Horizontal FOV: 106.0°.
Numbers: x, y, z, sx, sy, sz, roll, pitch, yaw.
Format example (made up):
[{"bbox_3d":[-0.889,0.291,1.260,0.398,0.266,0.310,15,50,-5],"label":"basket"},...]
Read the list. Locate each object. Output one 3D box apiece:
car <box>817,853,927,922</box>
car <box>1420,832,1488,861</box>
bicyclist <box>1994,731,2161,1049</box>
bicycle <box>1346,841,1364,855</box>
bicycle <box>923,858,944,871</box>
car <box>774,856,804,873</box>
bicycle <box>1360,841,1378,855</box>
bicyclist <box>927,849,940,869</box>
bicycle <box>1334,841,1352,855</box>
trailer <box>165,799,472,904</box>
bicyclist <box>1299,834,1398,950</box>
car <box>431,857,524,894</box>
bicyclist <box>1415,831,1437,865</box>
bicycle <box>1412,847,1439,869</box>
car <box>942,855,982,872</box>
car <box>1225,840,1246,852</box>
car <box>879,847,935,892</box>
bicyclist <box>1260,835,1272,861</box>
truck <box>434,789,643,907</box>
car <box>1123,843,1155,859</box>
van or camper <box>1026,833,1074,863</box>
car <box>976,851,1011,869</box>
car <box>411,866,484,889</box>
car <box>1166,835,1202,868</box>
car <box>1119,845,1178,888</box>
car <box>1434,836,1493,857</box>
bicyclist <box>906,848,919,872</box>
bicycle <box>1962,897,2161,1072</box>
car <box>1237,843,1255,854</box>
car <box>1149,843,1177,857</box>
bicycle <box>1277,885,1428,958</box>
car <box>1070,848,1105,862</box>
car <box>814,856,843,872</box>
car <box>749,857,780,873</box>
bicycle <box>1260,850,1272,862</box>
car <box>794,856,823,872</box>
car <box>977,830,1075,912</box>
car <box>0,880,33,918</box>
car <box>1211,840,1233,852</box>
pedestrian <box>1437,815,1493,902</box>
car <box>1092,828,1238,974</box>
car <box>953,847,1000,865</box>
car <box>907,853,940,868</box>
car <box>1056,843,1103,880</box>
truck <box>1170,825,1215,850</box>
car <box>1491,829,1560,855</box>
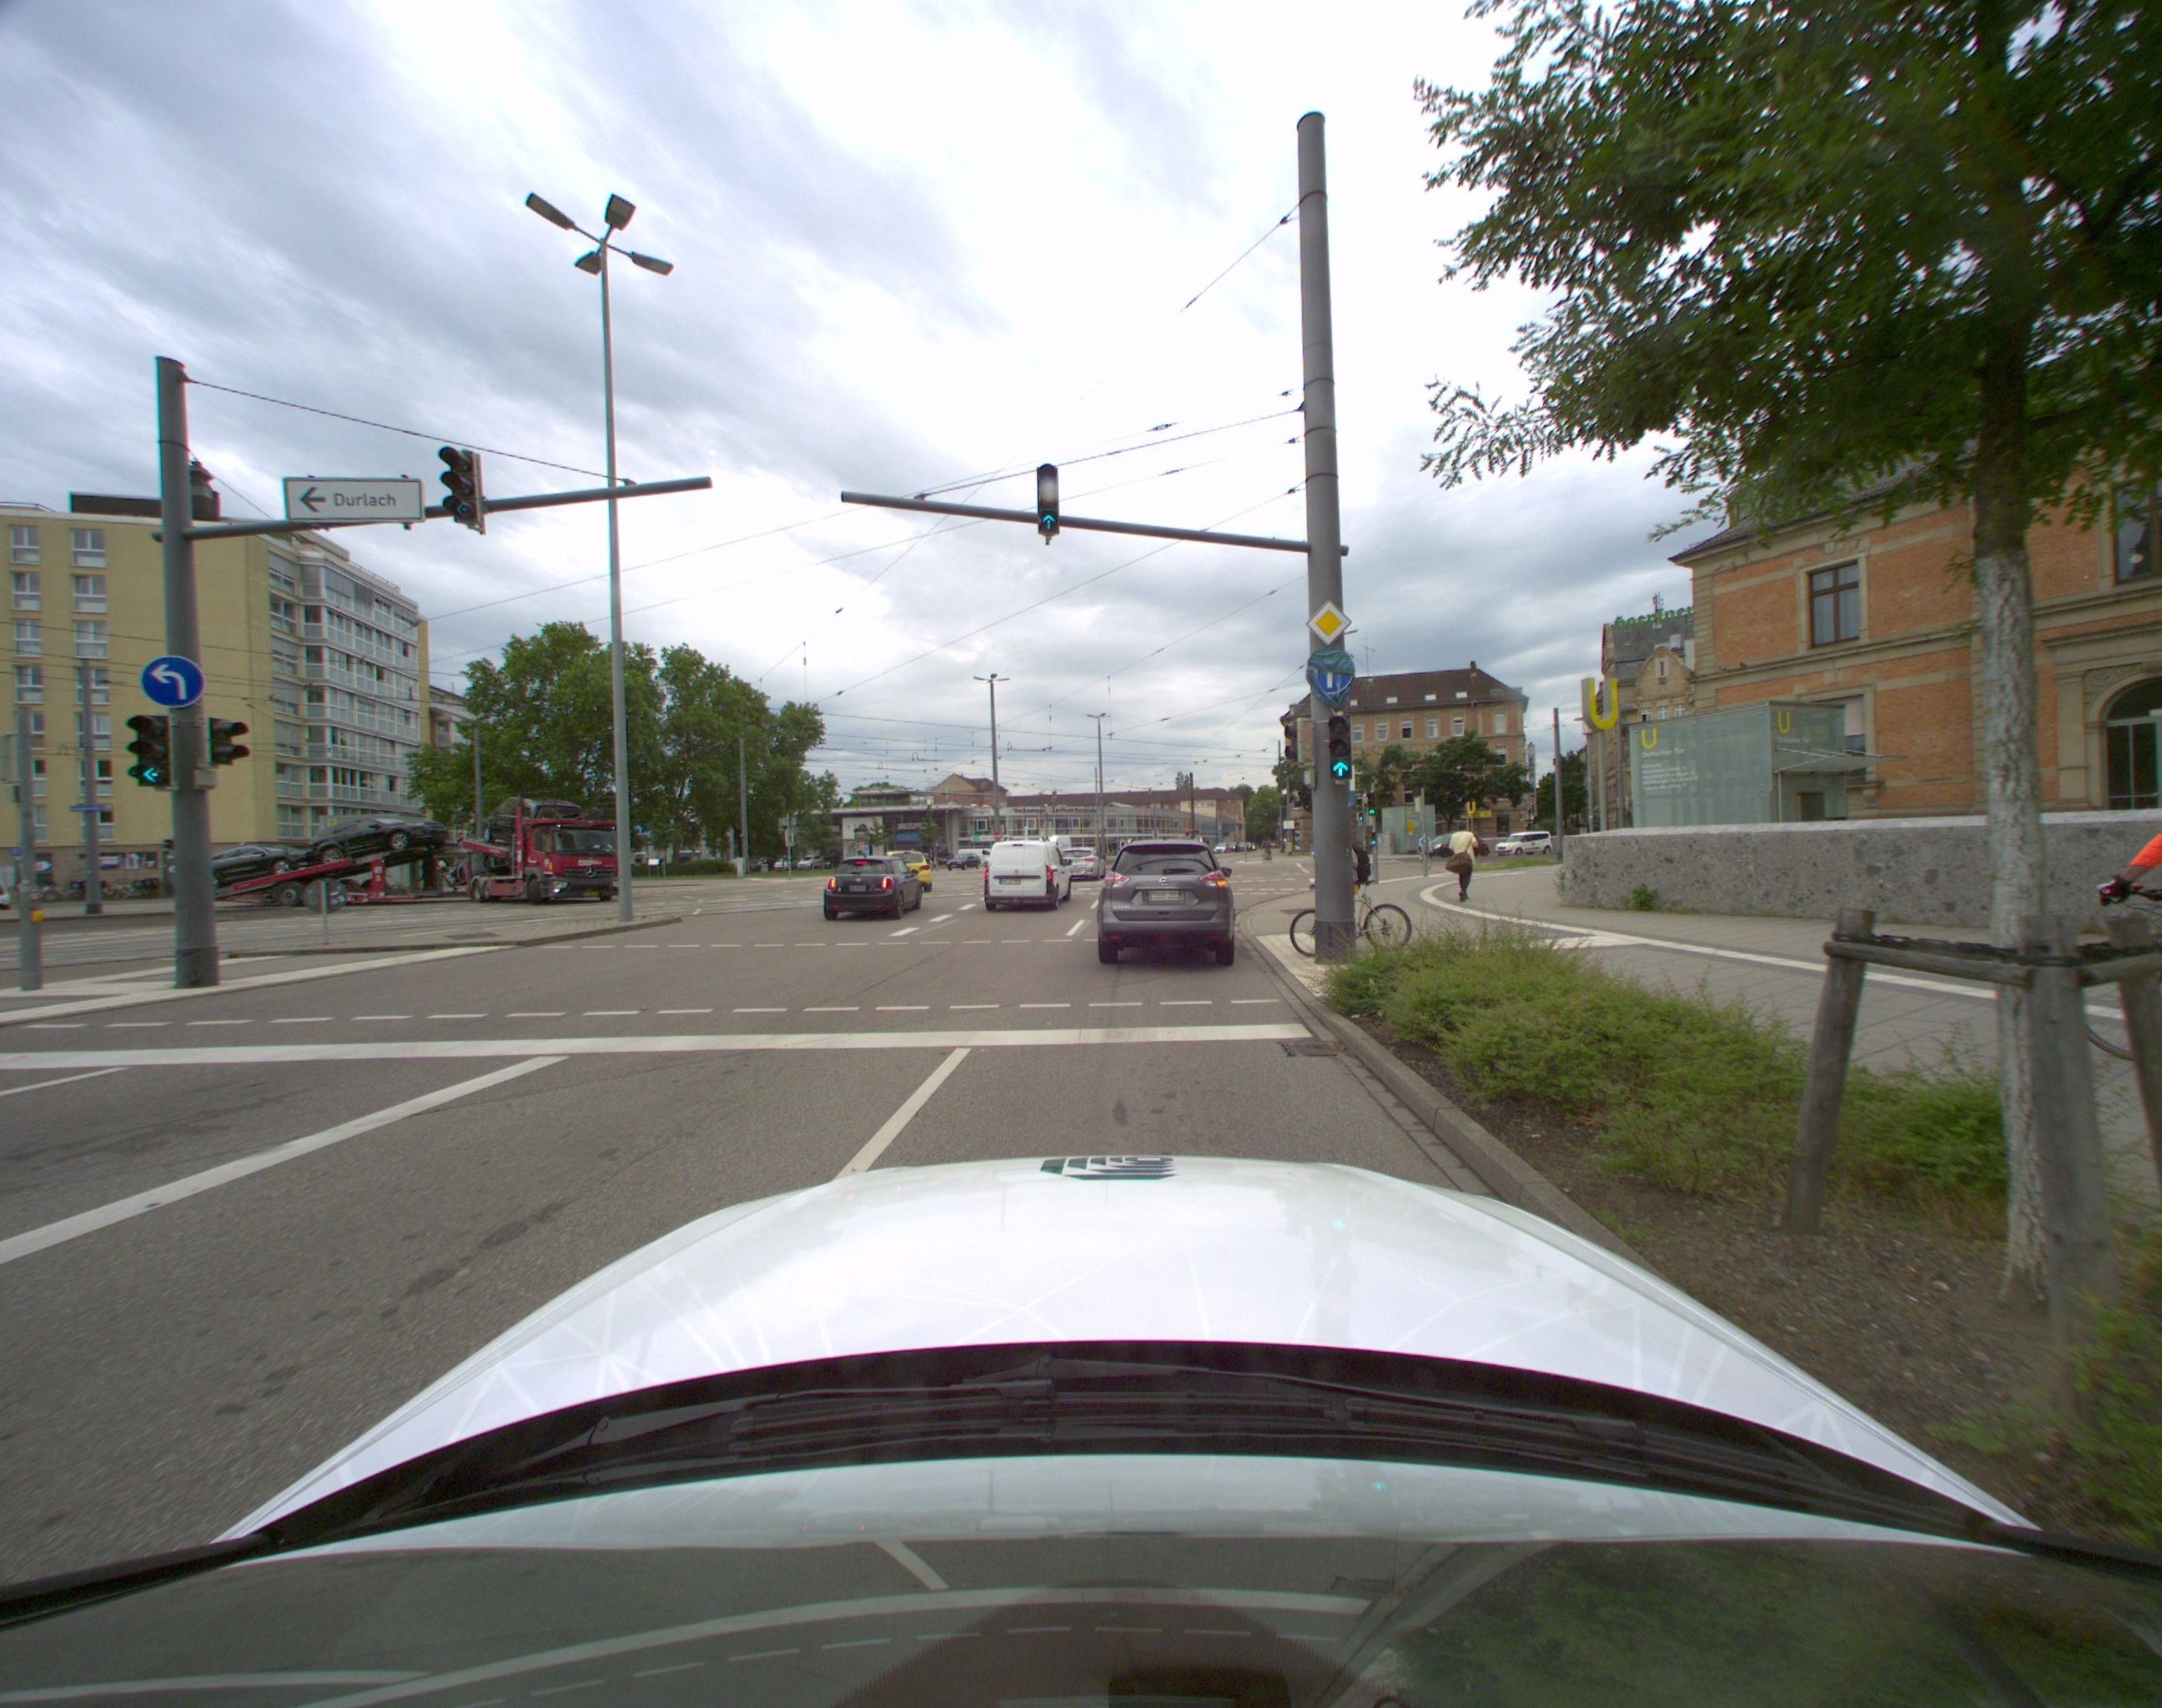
[{"bbox_3d":[-4.960,0.730,19.882,1.765,1.468,3.996,-2,0,-2],"label":"car"},{"bbox_3d":[25.443,-0.525,55.480,4.391,1.900,1.681,-1,0,-23],"label":"car"},{"bbox_3d":[5.919,0.174,4.233,0.824,1.621,1.321,-2,0,-1],"label":"bicyclist"},{"bbox_3d":[26.932,-0.558,80.010,0.948,1.354,3.140,-1,0,31],"label":"bicycle"},{"bbox_3d":[-11.913,0.847,65.962,0.514,0.926,2.235,-2,1,22],"label":"bicycle"},{"bbox_3d":[-37.557,1.328,104.822,1.983,2.013,4.008,-1,0,7],"label":"car"},{"bbox_3d":[28.115,-0.568,79.475,0.948,1.354,3.140,-1,0,31],"label":"bicycle"},{"bbox_3d":[-11.932,0.398,65.948,0.561,1.508,0.861,-2,1,22],"label":"bicyclist"},{"bbox_3d":[25.889,-0.549,80.501,0.948,1.354,3.140,-1,0,31],"label":"bicycle"},{"bbox_3d":[-30.651,-0.094,33.041,9.493,3.973,2.996,-1,0,-1],"label":"trailer"},{"bbox_3d":[3.704,0.506,11.342,1.094,1.520,0.759,-2,0,-1],"label":"bicyclist"},{"bbox_3d":[-35.043,1.220,47.424,4.005,2.013,1.984,-1,0,-24],"label":"car"},{"bbox_3d":[16.509,-0.302,38.967,0.684,1.560,0.932,-4,0,37],"label":"bicyclist"},{"bbox_3d":[16.488,0.172,38.936,0.664,0.933,1.871,-5,0,38],"label":"bicycle"},{"bbox_3d":[-9.603,0.719,65.884,1.673,1.247,3.755,-2,0,18],"label":"car"},{"bbox_3d":[25.569,-1.339,134.360,1.974,1.839,4.551,-1,0,30],"label":"car"},{"bbox_3d":[-6.419,0.511,29.707,1.821,1.494,3.980,0,0,-15],"label":"car"},{"bbox_3d":[12.643,-0.405,55.750,0.684,1.708,0.800,-2,0,6],"label":"bicyclist"},{"bbox_3d":[-21.012,-0.169,31.189,10.321,3.920,3.034,0,0,35],"label":"truck"},{"bbox_3d":[7.471,-0.379,104.282,2.136,1.856,5.480,-1,0,27],"label":"car"},{"bbox_3d":[-2.789,-0.522,75.320,2.396,2.611,6.080,-1,0,18],"label":"van or camper"},{"bbox_3d":[-7.584,0.534,71.154,1.622,1.420,3.755,-2,0,18],"label":"car"},{"bbox_3d":[-49.776,1.843,64.051,3.998,1.552,1.988,-2,0,-18],"label":"car"},{"bbox_3d":[6.620,-0.141,52.076,1.980,2.013,4.013,-1,0,11],"label":"car"},{"bbox_3d":[2.564,0.421,30.069,1.983,1.420,4.008,-2,0,7],"label":"car"},{"bbox_3d":[28.332,-0.558,60.280,4.004,1.442,1.681,-1,0,-23],"label":"car"},{"bbox_3d":[-13.023,0.449,63.055,0.622,1.803,0.802,-2,0,22],"label":"bicyclist"},{"bbox_3d":[5.925,0.710,4.173,0.554,0.848,2.073,-2,0,-1],"label":"bicycle"},{"bbox_3d":[28.667,-1.018,141.000,1.975,1.839,4.549,-1,0,25],"label":"car"},{"bbox_3d":[11.153,-0.524,110.595,1.974,1.839,4.551,-1,0,30],"label":"car"},{"bbox_3d":[3.751,0.921,11.343,1.815,0.840,0.767,-4,0,-2],"label":"bicycle"},{"bbox_3d":[0.755,0.077,91.351,1.975,1.420,4.779,-1,0,27],"label":"car"},{"bbox_3d":[-32.257,1.252,104.182,1.983,2.013,4.008,-1,0,7],"label":"car"},{"bbox_3d":[-40.680,1.358,104.747,1.983,2.013,4.008,-1,0,7],"label":"car"},{"bbox_3d":[12.683,0.138,55.800,0.615,0.793,1.595,-2,0,7],"label":"bicycle"},{"bbox_3d":[-35.049,1.278,104.678,1.983,2.013,4.008,-1,0,7],"label":"car"},{"bbox_3d":[-1.344,0.393,21.776,1.903,1.940,4.138,-2,0,6],"label":"car"},{"bbox_3d":[-54.595,2.260,40.929,3.949,1.755,2.094,0,0,41],"label":"car"},{"bbox_3d":[22.139,-1.315,127.899,1.974,1.839,4.551,-1,0,30],"label":"car"},{"bbox_3d":[8.652,0.090,18.332,0.876,1.867,1.295,-2,0,35],"label":"pedestrian"},{"bbox_3d":[1.167,0.583,12.053,1.742,1.756,3.927,-2,0,4],"label":"car"},{"bbox_3d":[-11.640,0.230,90.718,4.727,2.013,2.131,-1,0,18],"label":"car"},{"bbox_3d":[-16.733,0.691,86.598,1.621,1.420,3.757,-2,0,21],"label":"car"},{"bbox_3d":[-0.010,0.313,35.502,1.846,1.508,4.003,-1,0,2],"label":"car"},{"bbox_3d":[16.346,-2.389,118.883,2.767,3.549,9.282,-1,0,33],"label":"truck"},{"bbox_3d":[34.549,-0.934,63.305,5.105,1.916,1.855,-2,0,-22],"label":"car"}]
